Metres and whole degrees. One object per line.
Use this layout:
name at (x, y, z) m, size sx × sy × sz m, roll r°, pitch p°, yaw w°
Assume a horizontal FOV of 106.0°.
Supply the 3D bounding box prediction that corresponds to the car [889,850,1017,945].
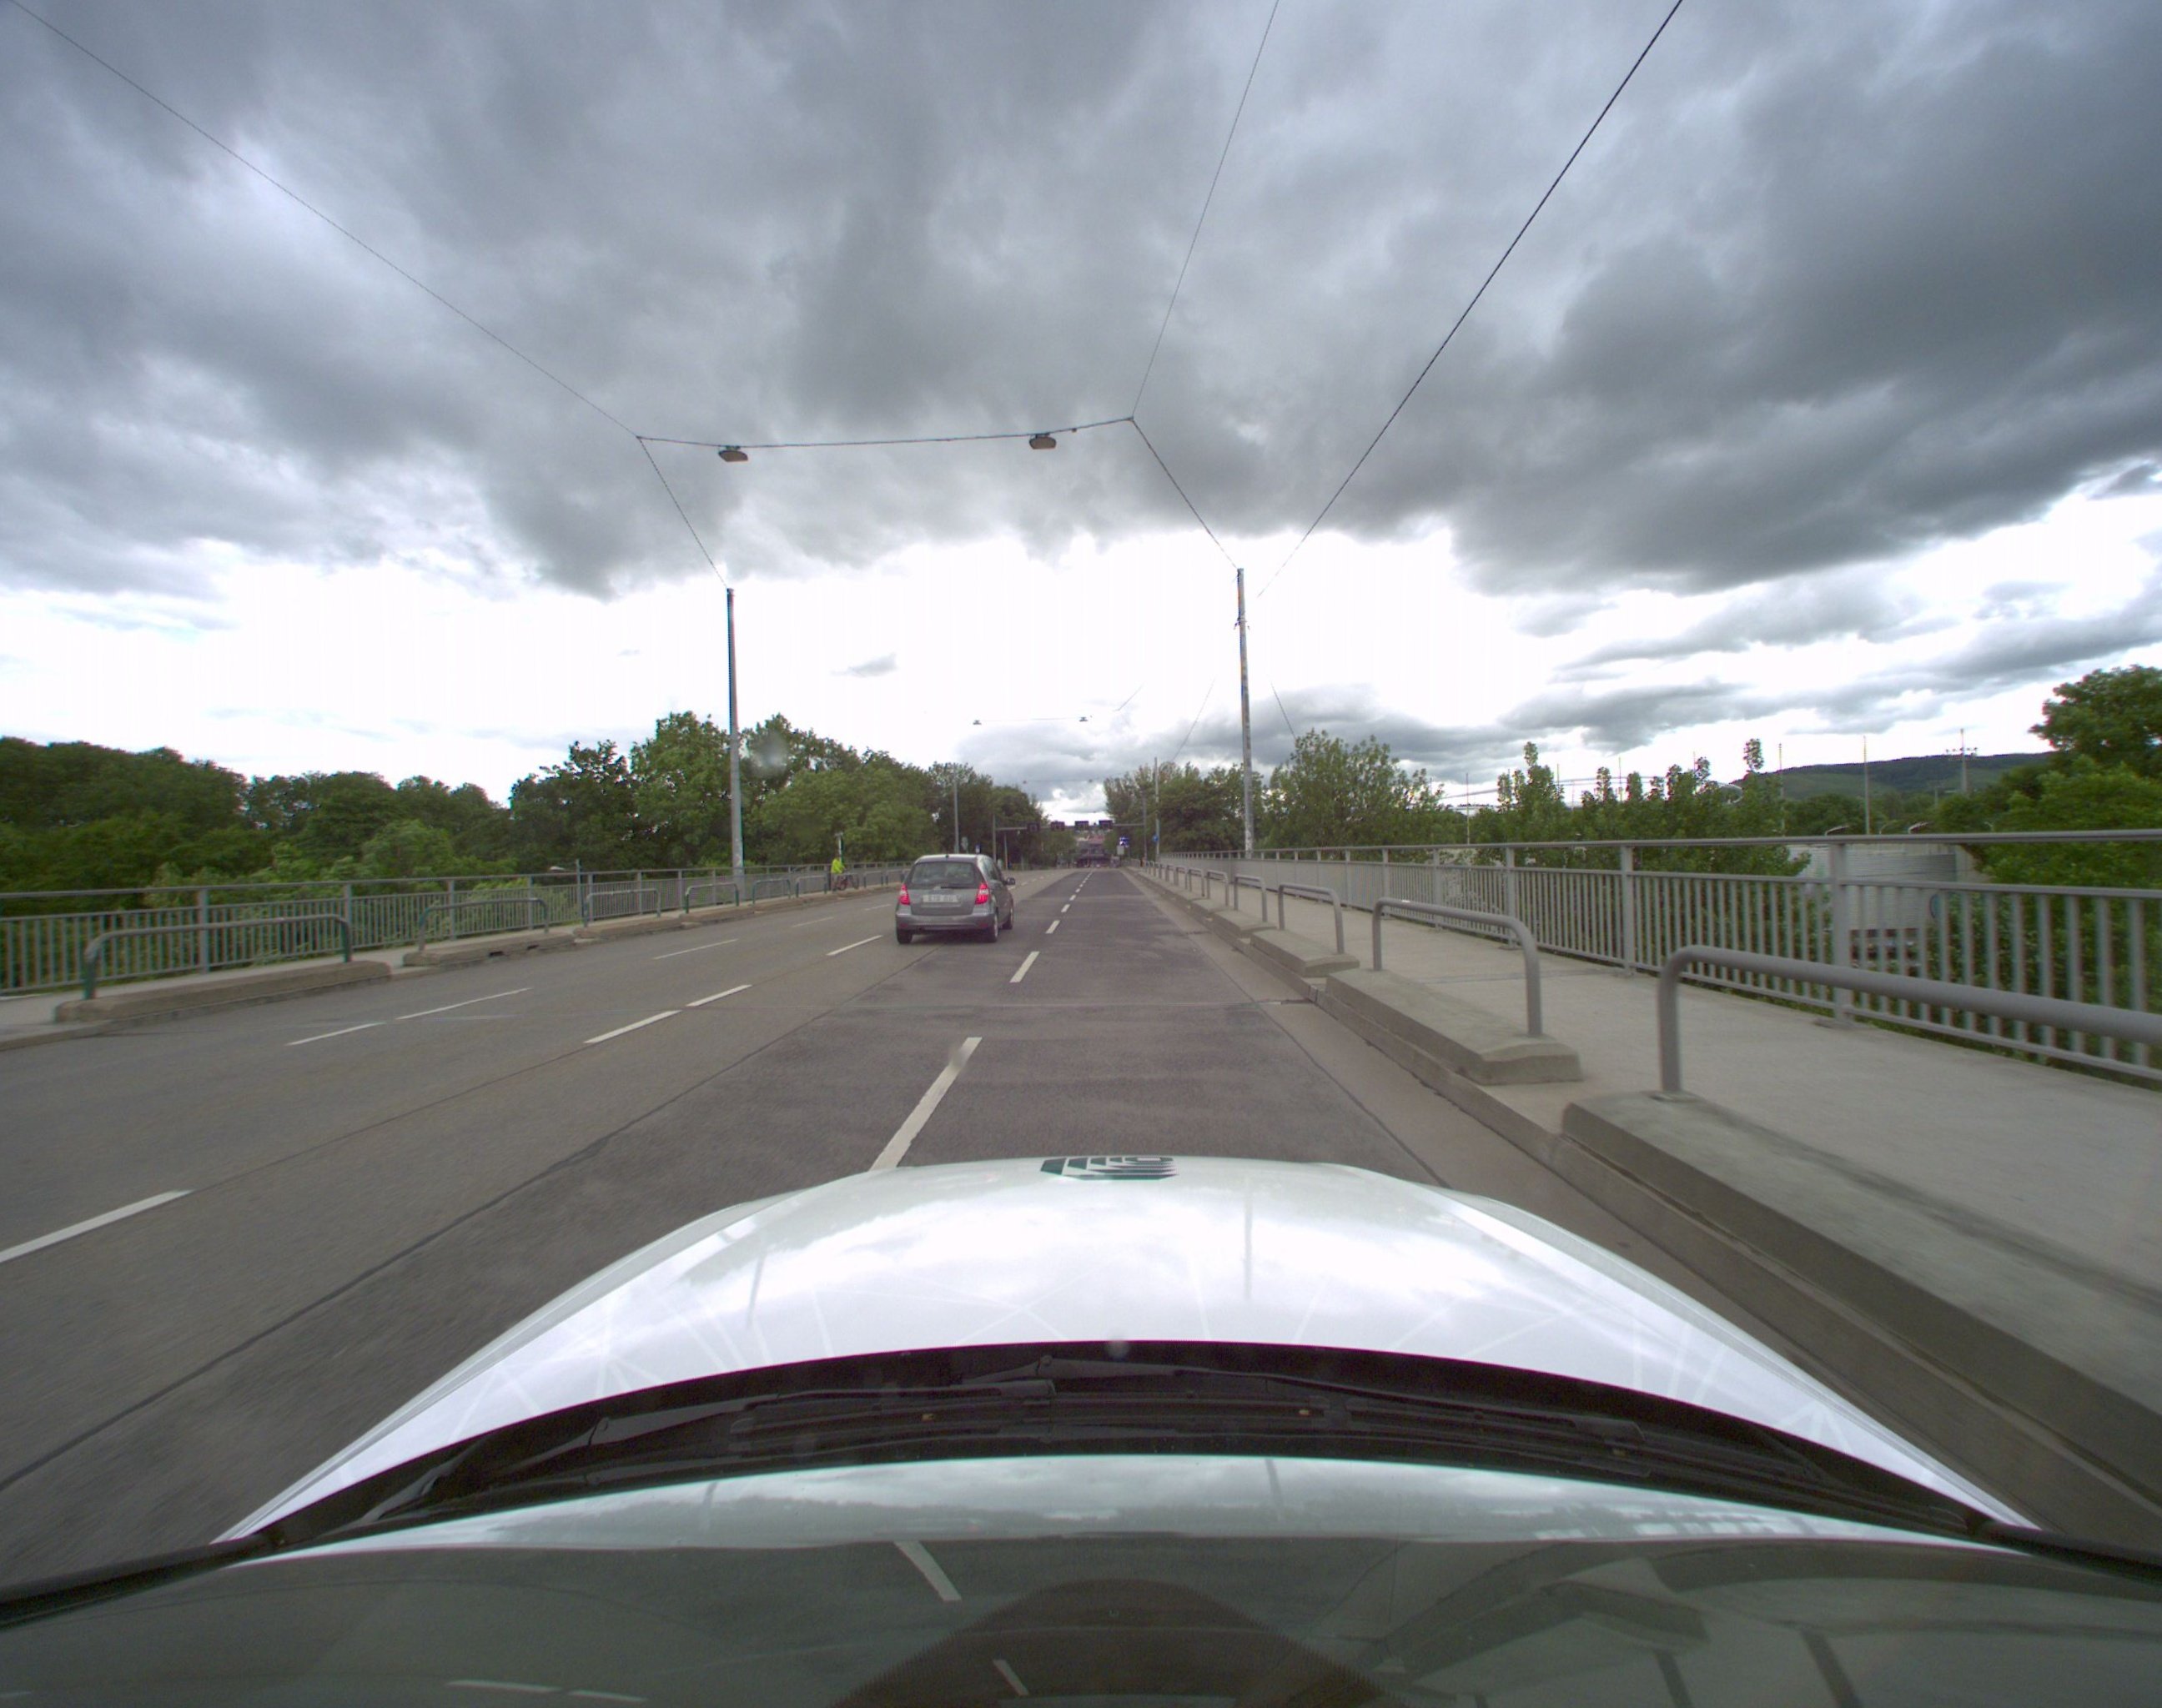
car at (-2.315, 0.720, 15.670) m, size 1.739 × 1.550 × 3.872 m, roll -1°, pitch 1°, yaw 1°

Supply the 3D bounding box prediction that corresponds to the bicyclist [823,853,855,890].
bicyclist at (-11.728, 0.842, 39.557) m, size 1.123 × 1.764 × 0.910 m, roll -2°, pitch 0°, yaw 20°

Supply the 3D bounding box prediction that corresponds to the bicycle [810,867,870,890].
bicycle at (-11.712, 1.175, 39.556) m, size 2.767 × 1.051 × 0.925 m, roll -2°, pitch 0°, yaw 19°
